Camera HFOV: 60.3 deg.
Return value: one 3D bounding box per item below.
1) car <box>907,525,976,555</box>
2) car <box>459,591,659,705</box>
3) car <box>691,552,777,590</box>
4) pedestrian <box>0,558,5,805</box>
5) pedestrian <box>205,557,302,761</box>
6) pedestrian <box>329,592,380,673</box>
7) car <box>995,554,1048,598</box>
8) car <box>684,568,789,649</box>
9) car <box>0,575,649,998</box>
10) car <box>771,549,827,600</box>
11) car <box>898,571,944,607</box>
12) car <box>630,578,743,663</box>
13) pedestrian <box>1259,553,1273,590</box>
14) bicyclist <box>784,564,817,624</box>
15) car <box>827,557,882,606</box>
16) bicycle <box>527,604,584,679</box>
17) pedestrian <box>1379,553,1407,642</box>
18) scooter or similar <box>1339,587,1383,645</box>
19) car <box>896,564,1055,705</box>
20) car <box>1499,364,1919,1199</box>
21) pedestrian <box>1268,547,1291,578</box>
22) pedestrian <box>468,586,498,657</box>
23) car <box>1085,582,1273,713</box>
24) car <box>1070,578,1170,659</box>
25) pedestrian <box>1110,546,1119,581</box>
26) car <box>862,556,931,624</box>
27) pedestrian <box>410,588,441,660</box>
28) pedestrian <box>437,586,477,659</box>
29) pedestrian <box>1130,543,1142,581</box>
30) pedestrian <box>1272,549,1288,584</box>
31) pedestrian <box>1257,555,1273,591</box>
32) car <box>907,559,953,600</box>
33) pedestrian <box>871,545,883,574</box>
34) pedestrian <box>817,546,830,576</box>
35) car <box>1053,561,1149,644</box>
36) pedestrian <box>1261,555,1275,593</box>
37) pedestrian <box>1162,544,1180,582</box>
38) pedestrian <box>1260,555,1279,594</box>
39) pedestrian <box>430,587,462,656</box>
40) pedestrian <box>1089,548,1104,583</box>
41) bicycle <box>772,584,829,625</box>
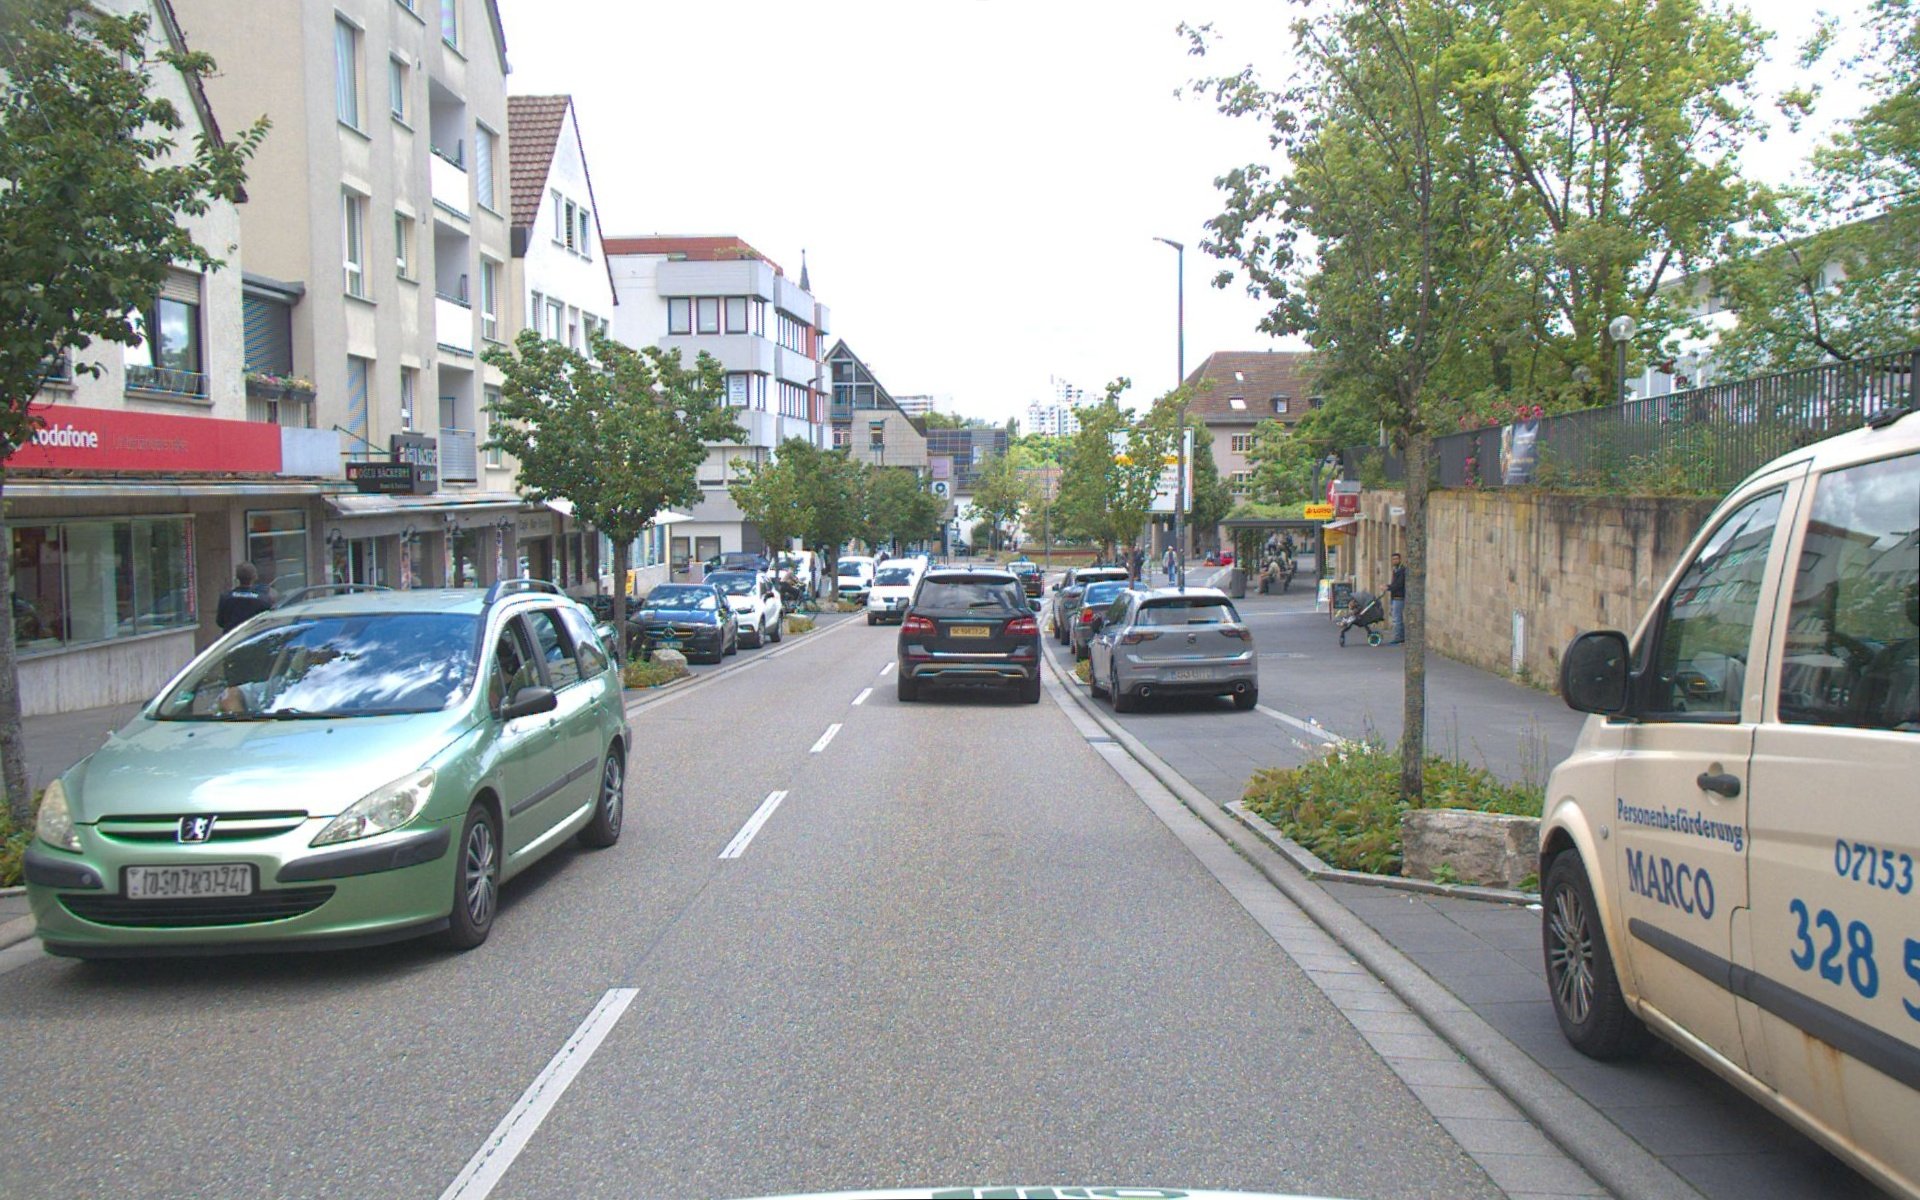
[{"bbox_3d":[-1.740,-5.705,156.958,6.182,2.604,2.197,1,0,-16],"label":"car"},{"bbox_3d":[-5.452,0.594,23.036,1.623,1.416,4.444,0,1,1],"label":"car"},{"bbox_3d":[-9.841,-1.282,72.248,3.554,1.585,1.668,0,2,-2],"label":"car"},{"bbox_3d":[-7.006,0.563,10.941,0.853,1.695,0.906,0,0,-2],"label":"pedestrian"},{"bbox_3d":[-6.385,0.515,14.976,0.648,1.792,0.776,0,0,-10],"label":"pedestrian"},{"bbox_3d":[-9.682,0.505,26.455,0.583,1.268,0.599,0,1,0],"label":"pedestrian"},{"bbox_3d":[2.528,-1.015,68.981,2.011,1.615,4.374,2,3,0],"label":"car"},{"bbox_3d":[-5.002,0.140,37.545,1.631,1.675,4.136,1,2,3],"label":"car"},{"bbox_3d":[-2.765,0.675,8.217,1.647,1.526,4.153,-1,0,0],"label":"car"},{"bbox_3d":[-6.289,-1.044,65.025,1.720,1.845,4.477,1,2,0],"label":"car"},{"bbox_3d":[-2.005,-0.597,85.492,1.658,1.627,4.336,3,3,8],"label":"car"},{"bbox_3d":[-5.257,0.347,32.307,1.803,1.476,4.511,1,1,-5],"label":"car"},{"bbox_3d":[11.191,-1.044,60.405,0.487,1.343,0.525,-1,4,10],"label":"pedestrian"},{"bbox_3d":[-4.674,-0.193,48.476,0.769,1.724,0.504,-3,2,-34],"label":"bicyclist"},{"bbox_3d":[-3.918,-0.713,62.009,1.622,1.701,4.353,1,2,2],"label":"car"},{"bbox_3d":[-6.482,0.647,26.585,0.474,1.126,1.908,0,1,-1],"label":"bicycle"},{"bbox_3d":[8.295,-0.046,31.672,0.463,1.674,0.507,-1,0,12],"label":"pedestrian"},{"bbox_3d":[7.705,0.300,31.796,0.794,1.091,0.561,-1,0,12],"label":"scooter or similar"},{"bbox_3d":[0.136,0.424,23.029,1.986,1.757,4.432,1,0,-2],"label":"car"},{"bbox_3d":[2.745,0.479,3.568,1.845,1.879,5.033,-1,0,4],"label":"car"},{"bbox_3d":[13.443,-1.576,69.544,0.755,1.291,0.674,2,3,34],"label":"pedestrian"},{"bbox_3d":[-8.918,0.398,30.935,0.412,1.322,0.454,0,2,0],"label":"pedestrian"},{"bbox_3d":[2.675,0.528,21.052,1.719,1.466,4.088,-1,0,-2],"label":"car"},{"bbox_3d":[2.991,0.325,31.624,1.646,1.441,4.373,-1,0,2],"label":"car"},{"bbox_3d":[7.221,-1.704,77.274,0.385,1.593,0.352,-1,2,6],"label":"pedestrian"},{"bbox_3d":[-1.801,-0.314,48.301,1.710,1.834,4.213,-2,1,1],"label":"car"},{"bbox_3d":[-9.563,0.425,29.624,0.387,1.271,0.500,0,2,0],"label":"pedestrian"},{"bbox_3d":[-8.973,0.396,29.521,0.538,1.289,0.599,0,1,0],"label":"pedestrian"},{"bbox_3d":[7.959,-1.717,74.630,0.500,1.709,0.577,-1,2,5],"label":"pedestrian"},{"bbox_3d":[12.680,-1.334,65.569,0.610,1.330,0.547,-1,2,9],"label":"pedestrian"},{"bbox_3d":[11.297,-0.997,61.255,0.556,1.283,0.542,-1,4,9],"label":"pedestrian"},{"bbox_3d":[-1.151,-0.823,64.101,1.573,1.412,3.631,-2,2,1],"label":"car"},{"bbox_3d":[-4.800,-2.344,95.523,0.574,1.615,0.639,1,2,6],"label":"pedestrian"},{"bbox_3d":[-7.336,-2.088,88.882,0.572,1.593,0.646,-1,2,7],"label":"pedestrian"},{"bbox_3d":[3.195,0.007,38.233,1.889,1.754,4.575,-1,2,1],"label":"car"},{"bbox_3d":[11.143,-0.951,59.824,0.484,1.343,0.576,-1,4,9],"label":"pedestrian"},{"bbox_3d":[9.519,-1.666,74.541,0.670,1.711,0.715,0,2,16],"label":"pedestrian"},{"bbox_3d":[11.073,-0.914,59.175,0.603,1.343,0.586,-1,4,8],"label":"pedestrian"},{"bbox_3d":[-9.622,0.401,30.974,0.418,1.271,0.567,0,2,0],"label":"pedestrian"},{"bbox_3d":[6.159,-1.552,74.640,0.503,1.576,0.486,0,2,32],"label":"pedestrian"},{"bbox_3d":[-4.671,0.130,48.502,1.635,1.106,0.408,-3,2,-36],"label":"bicycle"}]
